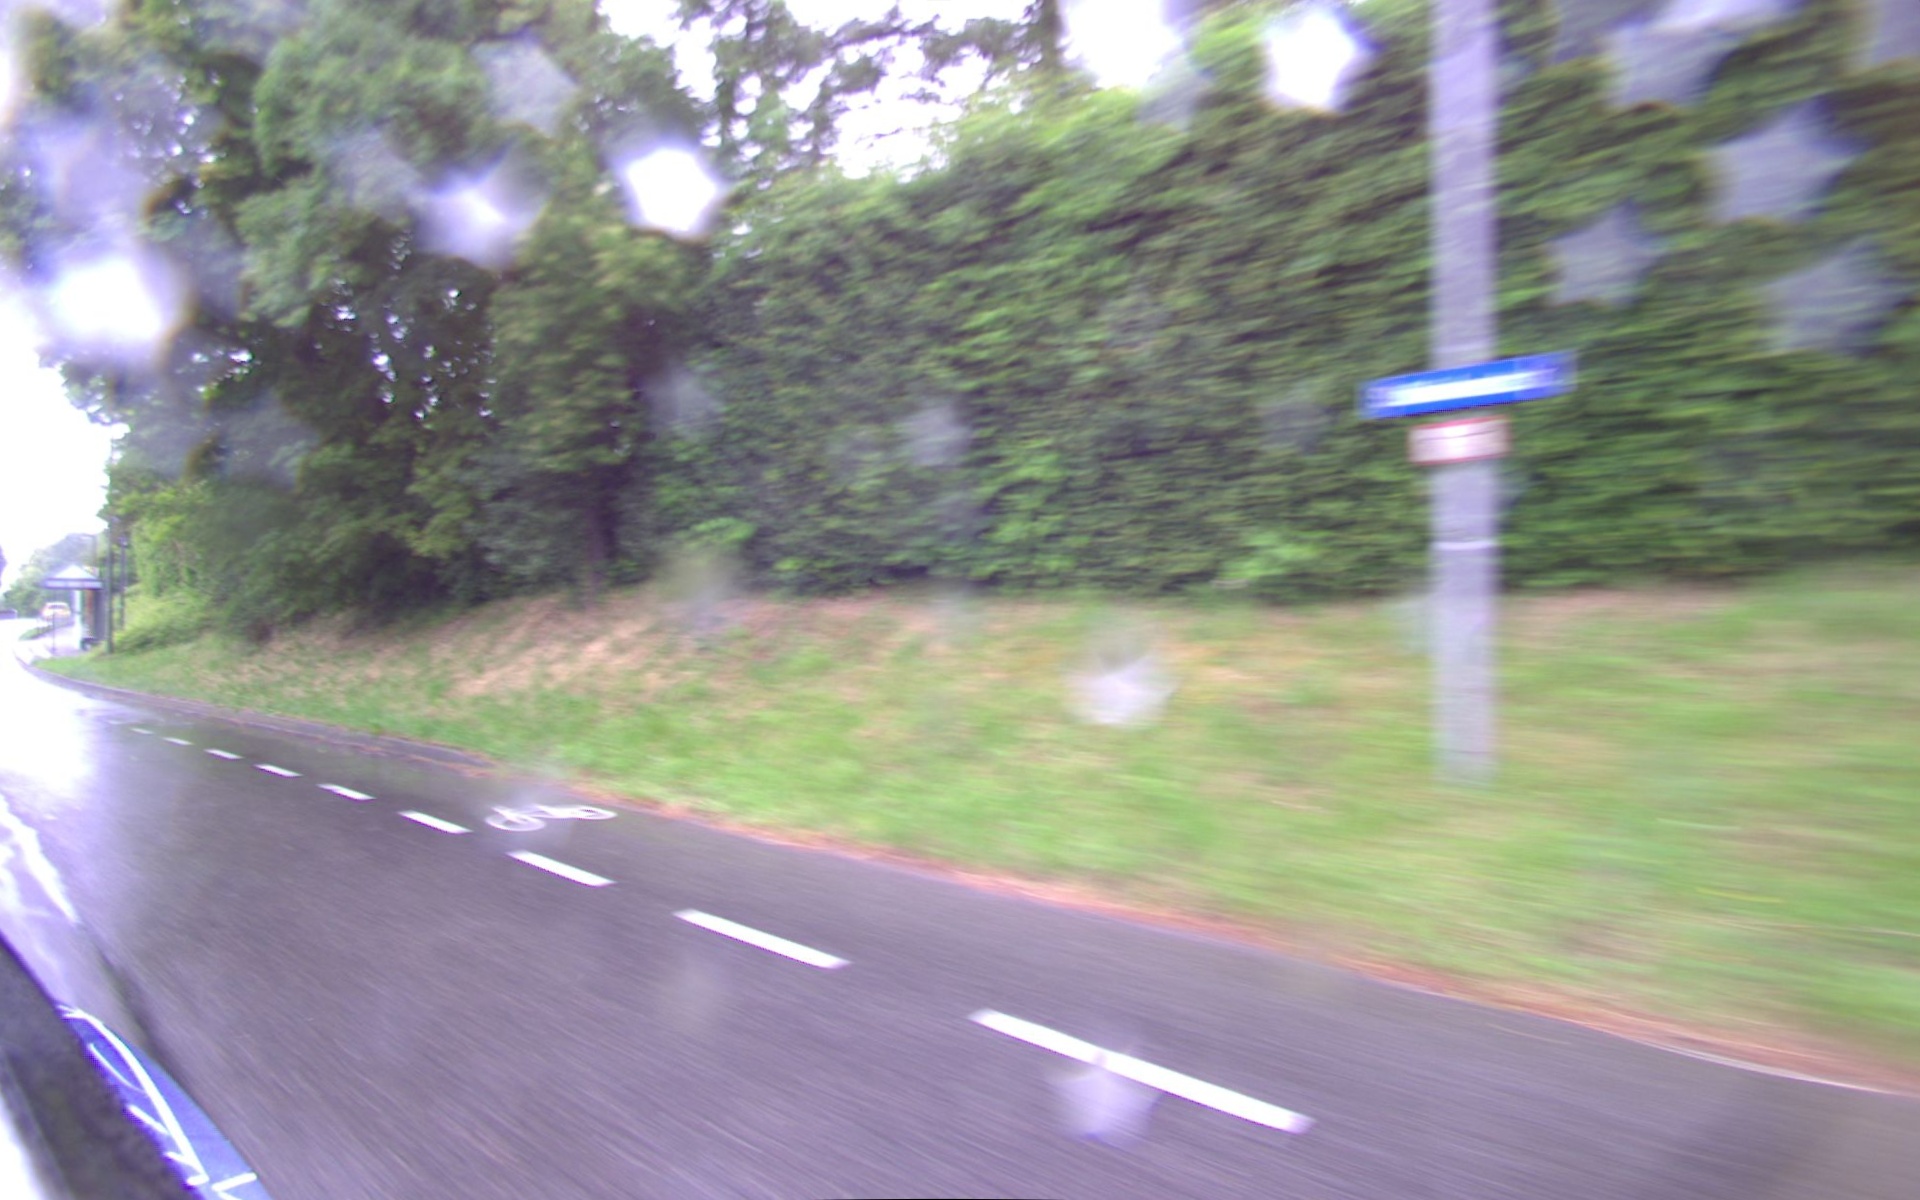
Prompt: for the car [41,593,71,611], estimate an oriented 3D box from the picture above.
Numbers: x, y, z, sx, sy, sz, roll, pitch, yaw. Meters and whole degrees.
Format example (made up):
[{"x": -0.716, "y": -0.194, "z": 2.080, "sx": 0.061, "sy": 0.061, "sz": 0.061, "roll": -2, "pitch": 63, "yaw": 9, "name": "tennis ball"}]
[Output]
[{"x": -74.258, "y": 0.205, "z": 83.149, "sx": 1.552, "sy": 1.421, "sz": 3.481, "roll": 2, "pitch": -2, "yaw": -38, "name": "car"}]
